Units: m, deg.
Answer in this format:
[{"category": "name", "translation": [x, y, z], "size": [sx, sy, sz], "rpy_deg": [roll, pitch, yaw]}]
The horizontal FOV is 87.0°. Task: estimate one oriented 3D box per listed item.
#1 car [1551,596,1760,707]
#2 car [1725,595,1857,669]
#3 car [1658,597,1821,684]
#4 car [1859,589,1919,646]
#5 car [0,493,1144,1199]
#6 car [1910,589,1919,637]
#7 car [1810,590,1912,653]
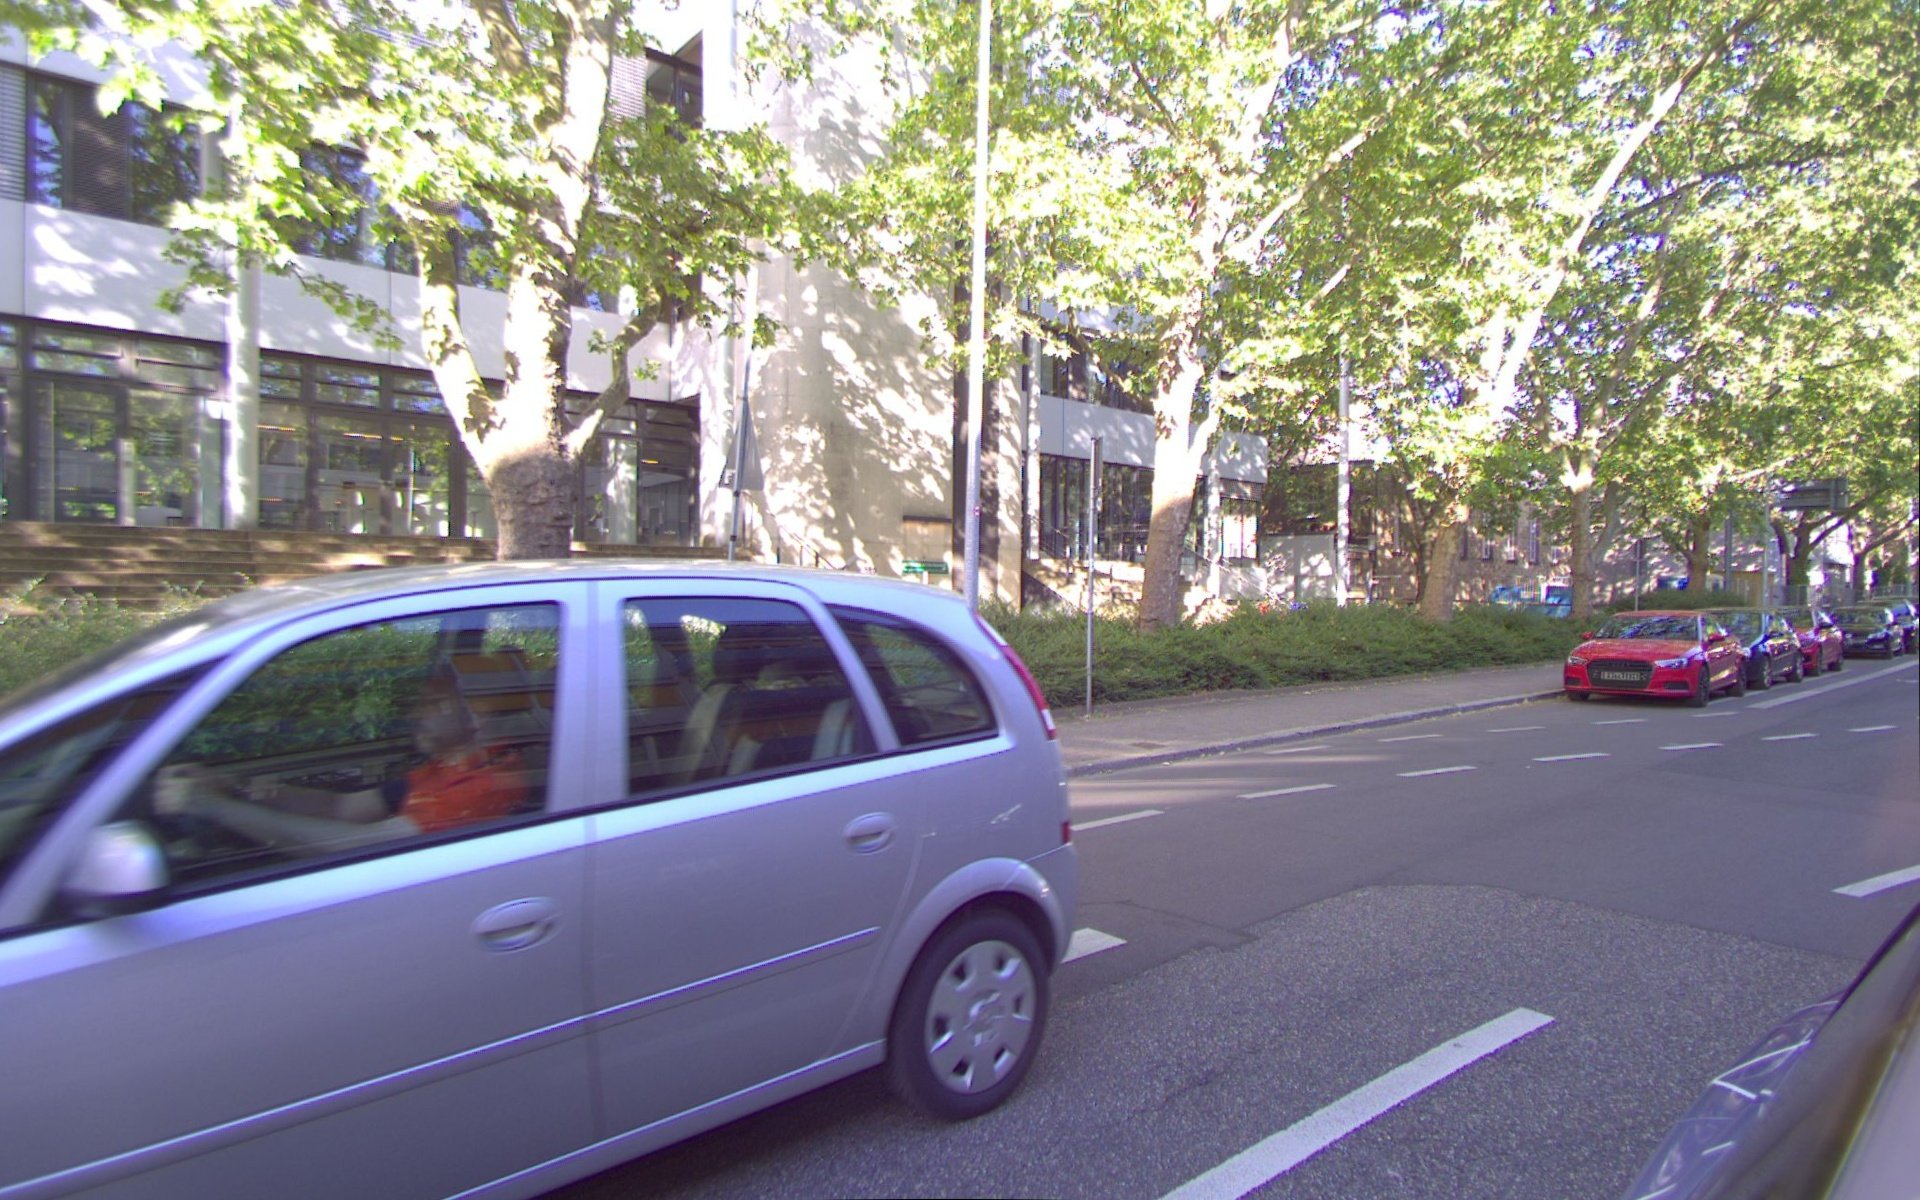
[{"category": "car", "translation": [11.189, 0.734, 16.187], "size": [4.071, 1.548, 1.827], "rpy_deg": [0, -1, -42]}, {"category": "car", "translation": [18.584, 0.672, 22.578], "size": [3.851, 1.511, 1.679], "rpy_deg": [0, -1, -42]}, {"category": "car", "translation": [14.894, 0.707, 19.268], "size": [4.022, 1.472, 1.739], "rpy_deg": [0, -1, -42]}, {"category": "car", "translation": [29.642, 0.514, 31.807], "size": [3.840, 1.708, 1.633], "rpy_deg": [0, 1, -42]}, {"category": "car", "translation": [-1.419, 0.638, 2.686], "size": [3.790, 1.623, 1.705], "rpy_deg": [0, 0, -39]}, {"category": "car", "translation": [38.770, 0.501, 39.808], "size": [3.829, 1.818, 1.739], "rpy_deg": [0, 1, -42]}, {"category": "car", "translation": [25.820, 0.563, 28.951], "size": [4.022, 1.653, 1.739], "rpy_deg": [0, 1, -42]}]
